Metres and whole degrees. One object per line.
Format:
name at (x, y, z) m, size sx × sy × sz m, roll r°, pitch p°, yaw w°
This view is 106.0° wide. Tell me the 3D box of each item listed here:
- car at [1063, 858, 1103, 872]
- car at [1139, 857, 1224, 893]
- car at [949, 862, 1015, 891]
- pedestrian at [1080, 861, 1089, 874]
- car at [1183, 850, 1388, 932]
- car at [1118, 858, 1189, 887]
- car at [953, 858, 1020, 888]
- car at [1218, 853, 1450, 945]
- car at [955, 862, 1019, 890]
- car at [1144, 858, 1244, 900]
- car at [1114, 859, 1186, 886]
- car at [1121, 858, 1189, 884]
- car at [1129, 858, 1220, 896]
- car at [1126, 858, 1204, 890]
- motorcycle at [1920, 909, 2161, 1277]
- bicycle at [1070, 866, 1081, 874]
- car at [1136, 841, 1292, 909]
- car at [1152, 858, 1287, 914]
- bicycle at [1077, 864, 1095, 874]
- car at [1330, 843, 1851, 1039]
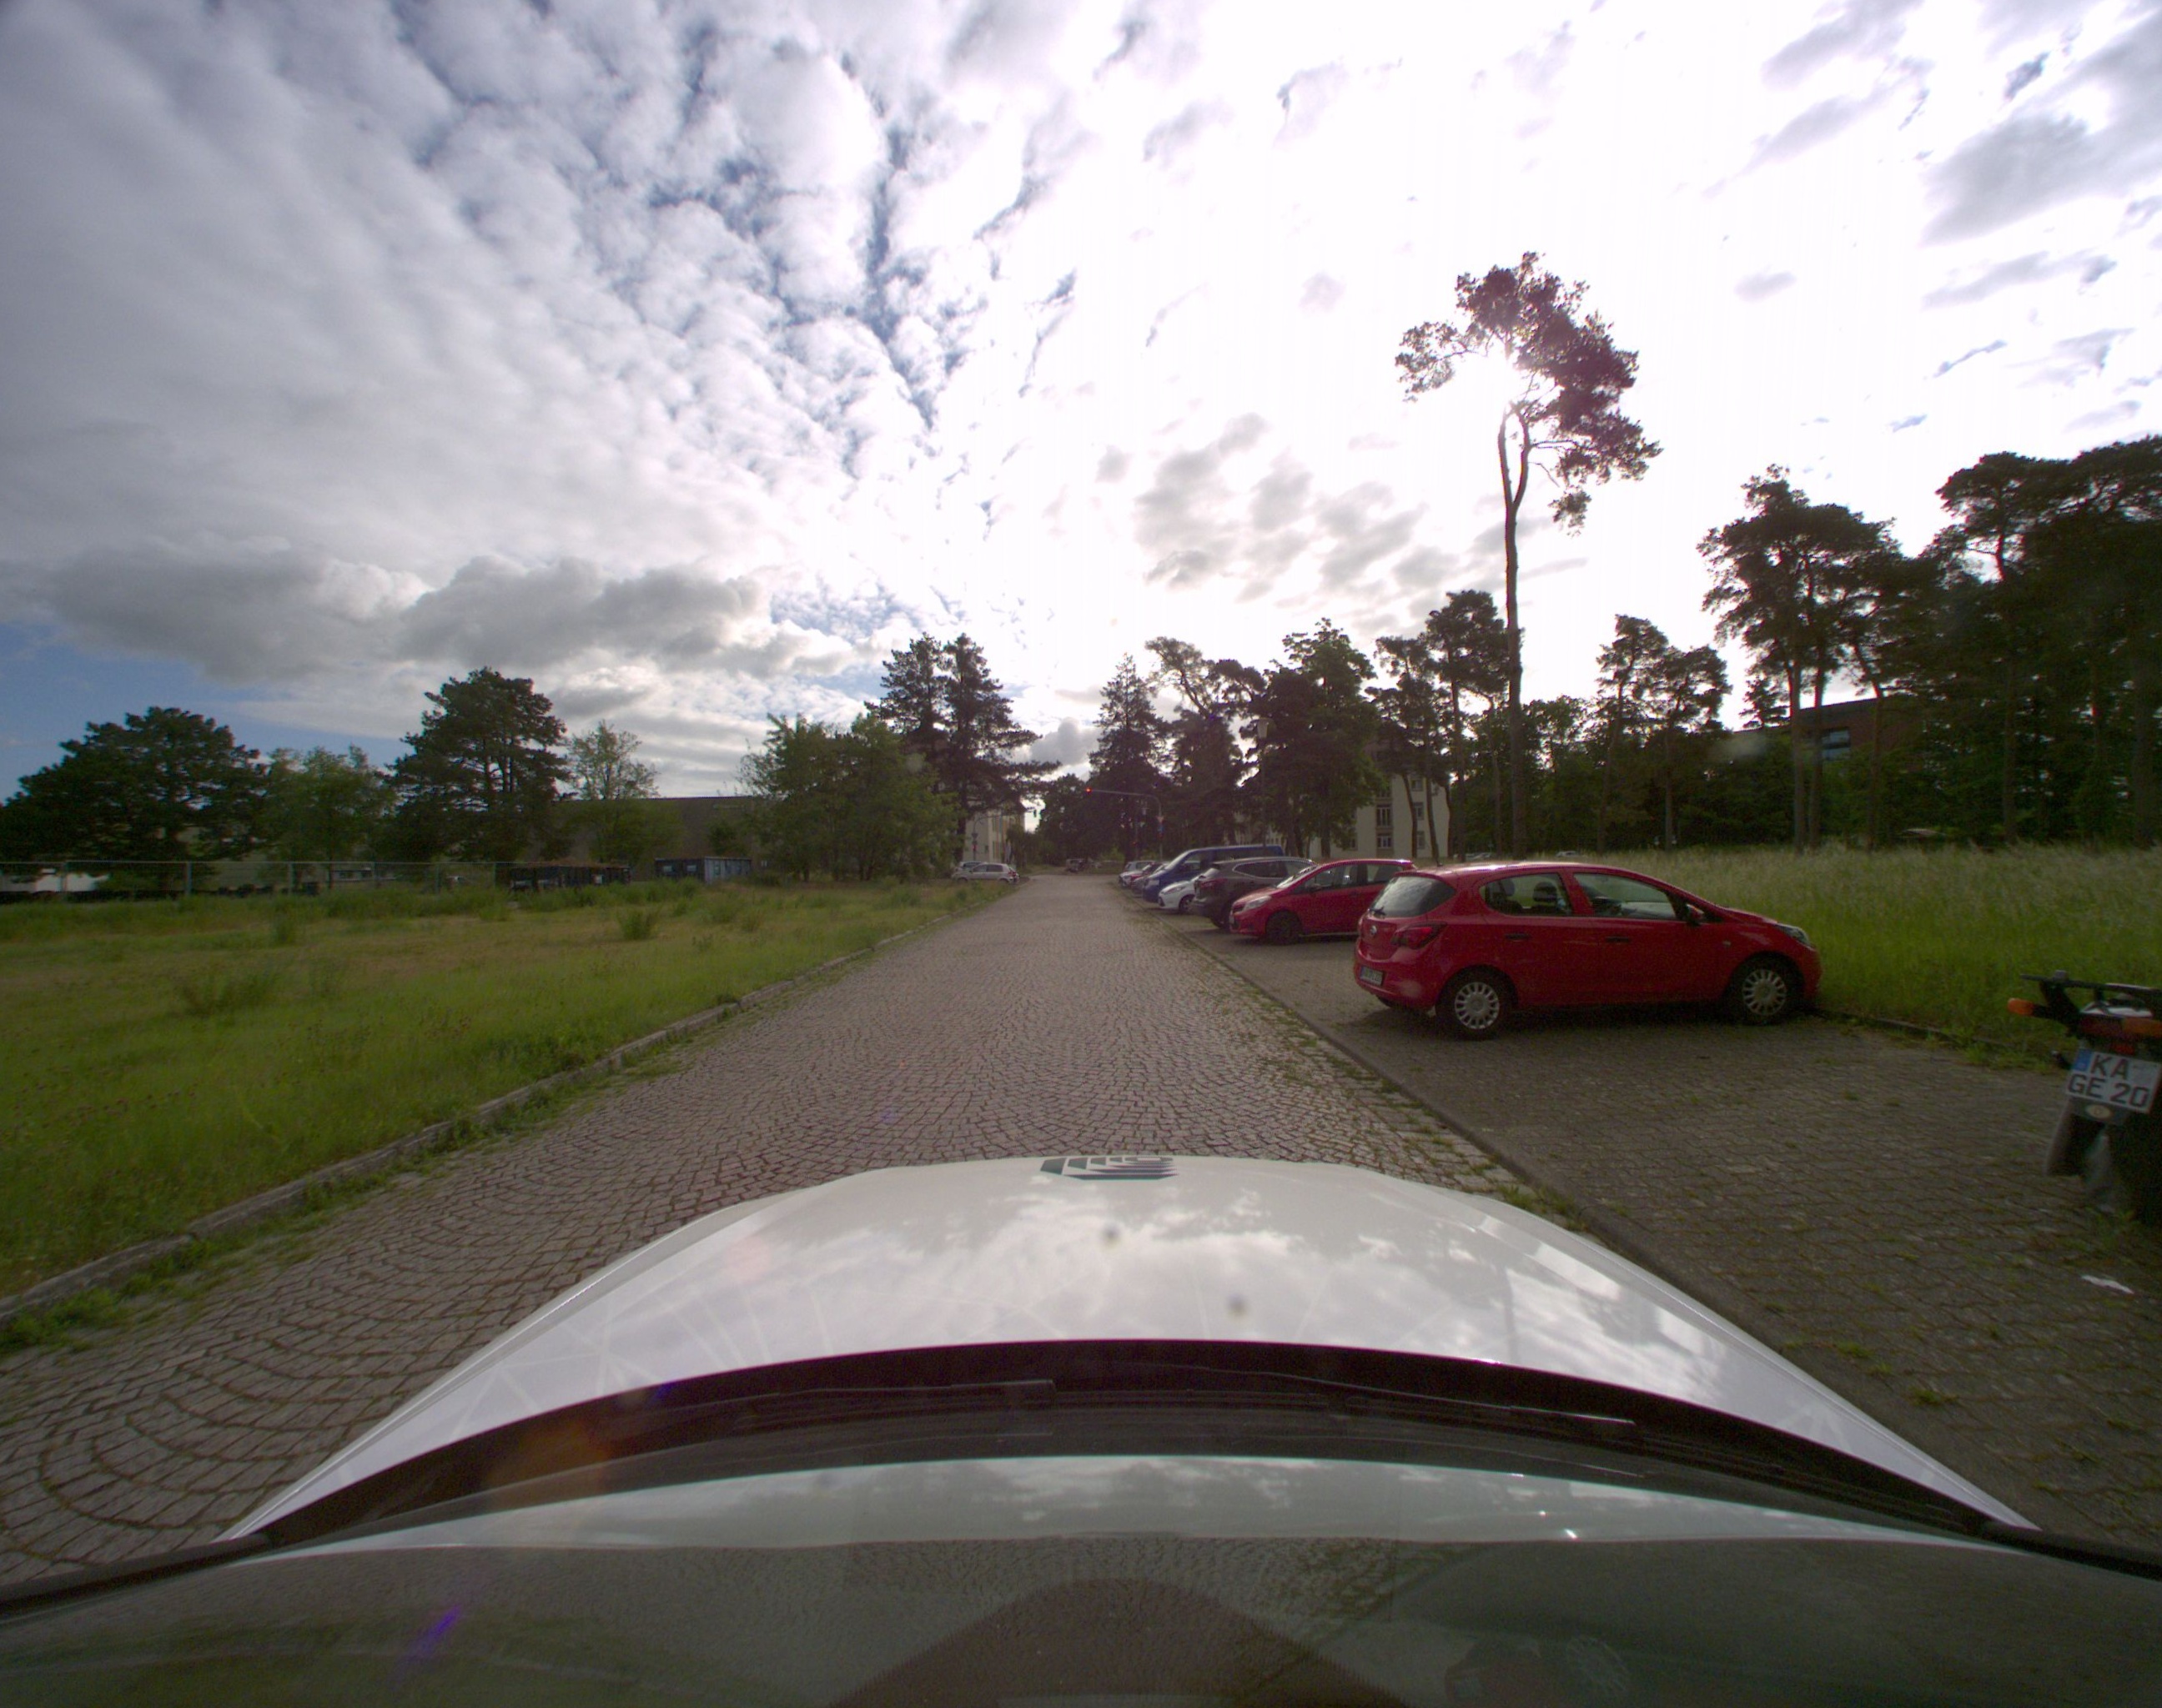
car at (0.321, 1.591, 117.479) m, size 5.445 × 2.014 × 2.261 m, roll 0°, pitch -1°, yaw -10°
car at (4.659, 0.973, 37.985) m, size 3.663 × 1.449 × 1.522 m, roll -3°, pitch -1°, yaw -3°
car at (-5.984, 1.338, 49.475) m, size 3.814 × 1.572 × 1.562 m, roll -2°, pitch -1°, yaw -4°
pedestrian at (0.453, 1.617, 99.916) m, size 1.032 × 1.614 × 0.756 m, roll 0°, pitch -1°, yaw -5°
car at (4.416, 0.784, 17.971) m, size 4.020 × 1.552 × 1.749 m, roll -3°, pitch -1°, yaw -3°
car at (3.987, 1.043, 45.215) m, size 3.666 × 1.421 × 1.521 m, roll -2°, pitch -1°, yaw -5°
car at (-6.324, 1.278, 54.874) m, size 4.250 × 1.840 × 1.743 m, roll -3°, pitch -1°, yaw -2°
car at (4.632, 0.812, 15.315) m, size 3.781 × 1.460 × 1.750 m, roll -3°, pitch -1°, yaw -1°
car at (-5.955, 1.401, 51.891) m, size 3.811 × 1.572 × 1.563 m, roll -3°, pitch -1°, yaw -2°
car at (4.416, 0.968, 32.214) m, size 3.663 × 1.449 × 1.522 m, roll -3°, pitch -1°, yaw -3°
car at (4.056, 1.075, 48.071) m, size 3.961 × 1.421 × 1.617 m, roll -2°, pitch -1°, yaw -5°
car at (4.610, 1.072, 50.730) m, size 3.961 × 1.421 × 1.617 m, roll -2°, pitch -1°, yaw -5°
car at (3.977, 0.973, 34.985) m, size 3.663 × 1.449 × 1.522 m, roll -3°, pitch -1°, yaw -3°
car at (4.165, 0.989, 40.682) m, size 3.663 × 1.449 × 1.522 m, roll -3°, pitch -1°, yaw -3°
motorcycle at (4.860, 0.832, 3.229) m, size 2.322 × 1.186 × 0.794 m, roll -2°, pitch -1°, yaw -4°
bicycle at (-0.620, 1.883, 95.482) m, size 0.623 × 0.945 × 1.648 m, roll 0°, pitch -1°, yaw -28°
car at (4.303, 0.691, 26.939) m, size 4.743 × 1.954 × 1.929 m, roll -3°, pitch -1°, yaw -3°
car at (4.079, 0.922, 24.339) m, size 3.664 × 1.449 × 1.613 m, roll -3°, pitch -1°, yaw -3°
bicycle at (0.658, 1.817, 99.574) m, size 2.133 × 1.215 × 0.621 m, roll 0°, pitch -1°, yaw -5°
car at (4.568, 0.736, 7.735) m, size 3.815 × 1.460 × 1.778 m, roll -3°, pitch -1°, yaw -2°
